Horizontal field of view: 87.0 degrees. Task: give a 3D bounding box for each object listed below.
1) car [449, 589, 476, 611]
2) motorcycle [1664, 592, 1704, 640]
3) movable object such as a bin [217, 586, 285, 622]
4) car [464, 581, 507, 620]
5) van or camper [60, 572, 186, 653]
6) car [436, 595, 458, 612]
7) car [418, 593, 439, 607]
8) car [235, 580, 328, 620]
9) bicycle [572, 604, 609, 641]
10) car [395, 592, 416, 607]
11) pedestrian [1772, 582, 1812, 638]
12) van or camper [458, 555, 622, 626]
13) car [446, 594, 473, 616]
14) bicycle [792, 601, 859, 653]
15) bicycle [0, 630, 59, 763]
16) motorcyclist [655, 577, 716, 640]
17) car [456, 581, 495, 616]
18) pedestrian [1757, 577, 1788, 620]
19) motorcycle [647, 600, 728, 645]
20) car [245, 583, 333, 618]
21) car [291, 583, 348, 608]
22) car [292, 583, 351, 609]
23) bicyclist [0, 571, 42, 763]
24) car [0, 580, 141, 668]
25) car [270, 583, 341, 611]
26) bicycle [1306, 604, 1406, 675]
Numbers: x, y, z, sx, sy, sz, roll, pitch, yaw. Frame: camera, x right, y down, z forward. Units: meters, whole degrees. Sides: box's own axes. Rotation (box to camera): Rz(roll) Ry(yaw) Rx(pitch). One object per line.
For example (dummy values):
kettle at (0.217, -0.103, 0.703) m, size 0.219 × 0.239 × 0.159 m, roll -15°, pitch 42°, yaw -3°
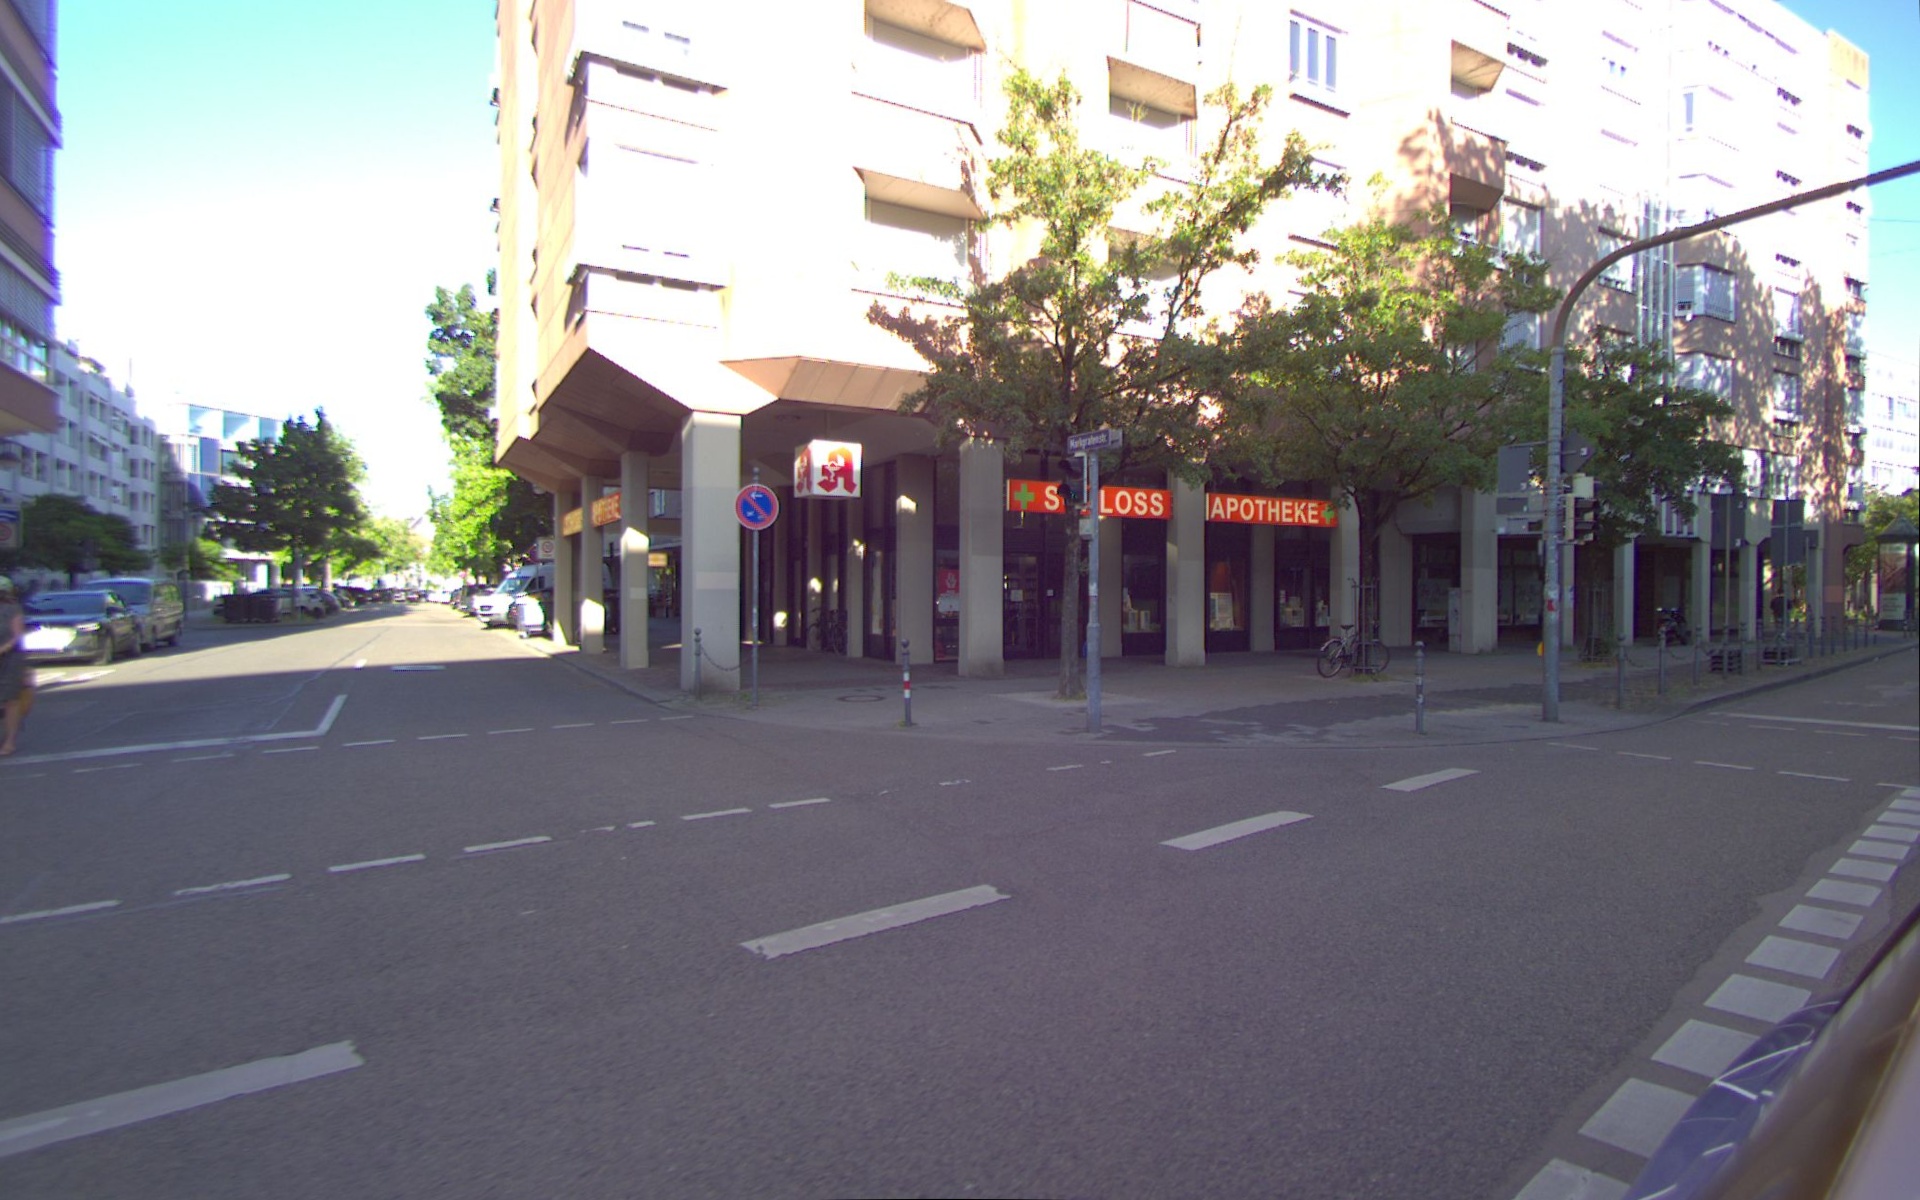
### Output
car at (-38.433, 0.009, 78.147) m, size 1.831 × 1.605 × 4.005 m, roll -1°, pitch 0°, yaw -27°
motorcycle at (21.627, 0.466, 30.208) m, size 2.054 × 1.390 × 0.489 m, roll 0°, pitch 0°, yaw -40°
movable object such as a bin at (-31.350, 0.145, 44.816) m, size 2.114 × 1.518 × 1.734 m, roll -2°, pitch 1°, yaw -24°
car at (-26.220, 0.007, 55.836) m, size 1.959 × 2.039 × 4.005 m, roll -1°, pitch 0°, yaw -27°
van or camper at (-22.576, 0.280, 27.466) m, size 1.765 × 1.997 × 4.582 m, roll -1°, pitch 1°, yaw -29°
car at (-51.592, 0.334, 101.753) m, size 1.895 × 1.627 × 4.005 m, roll -1°, pitch 0°, yaw -27°
car at (-58.500, 0.001, 111.402) m, size 1.959 × 1.565 × 4.005 m, roll -1°, pitch 0°, yaw -27°
car at (-34.609, -0.023, 51.727) m, size 3.642 × 1.997 × 1.734 m, roll 0°, pitch 1°, yaw -19°
bicycle at (-10.607, 0.630, 29.111) m, size 0.600 × 1.032 × 1.318 m, roll 0°, pitch 1°, yaw -1°
car at (-62.557, -0.036, 114.220) m, size 1.959 × 1.565 × 4.005 m, roll -1°, pitch 0°, yaw -27°
pedestrian at (26.586, 0.297, 32.346) m, size 0.820 × 1.760 × 0.784 m, roll 0°, pitch 0°, yaw -32°
van or camper at (-17.795, -0.404, 43.294) m, size 2.339 × 2.801 × 6.384 m, roll 0°, pitch 1°, yaw 30°
car at (-41.336, 0.408, 83.569) m, size 1.959 × 1.662 × 4.005 m, roll -1°, pitch 0°, yaw -27°
bicycle at (-3.114, 0.590, 23.156) m, size 0.581 × 1.108 × 2.452 m, roll 0°, pitch 1°, yaw -31°
bicycle at (-9.436, 0.900, 9.754) m, size 0.788 × 1.127 × 1.922 m, roll -1°, pitch 1°, yaw -32°
motorcyclist at (-7.784, 0.231, 28.699) m, size 1.310 × 1.710 × 1.174 m, roll -1°, pitch 0°, yaw -37°
car at (-28.905, -0.083, 60.316) m, size 1.959 × 2.039 × 4.005 m, roll -1°, pitch 0°, yaw -27°
pedestrian at (37.855, -0.064, 47.156) m, size 0.837 × 2.006 × 0.814 m, roll 0°, pitch 0°, yaw 17°
motorcycle at (-7.769, 0.604, 28.718) m, size 1.324 × 1.193 × 2.828 m, roll 0°, pitch 1°, yaw -35°
car at (-36.092, -0.003, 54.524) m, size 3.642 × 1.829 × 1.734 m, roll 0°, pitch 1°, yaw -19°
car at (-53.086, -0.394, 83.907) m, size 3.925 × 2.039 × 2.000 m, roll -1°, pitch 1°, yaw -36°
car at (-51.751, -0.333, 82.035) m, size 3.925 × 2.039 × 2.000 m, roll -1°, pitch 1°, yaw -36°
bicyclist at (-9.362, 0.622, 9.632) m, size 0.773 × 1.792 × 0.828 m, roll 0°, pitch 0°, yaw -32°
car at (-19.546, 0.441, 22.307) m, size 1.766 × 1.743 × 4.202 m, roll -1°, pitch 1°, yaw -31°
car at (-44.298, -0.225, 68.526) m, size 3.925 × 1.855 × 2.000 m, roll -1°, pitch 1°, yaw -36°
bicycle at (7.266, 0.698, 18.558) m, size 1.887 × 1.241 × 0.624 m, roll 0°, pitch 0°, yaw -28°
